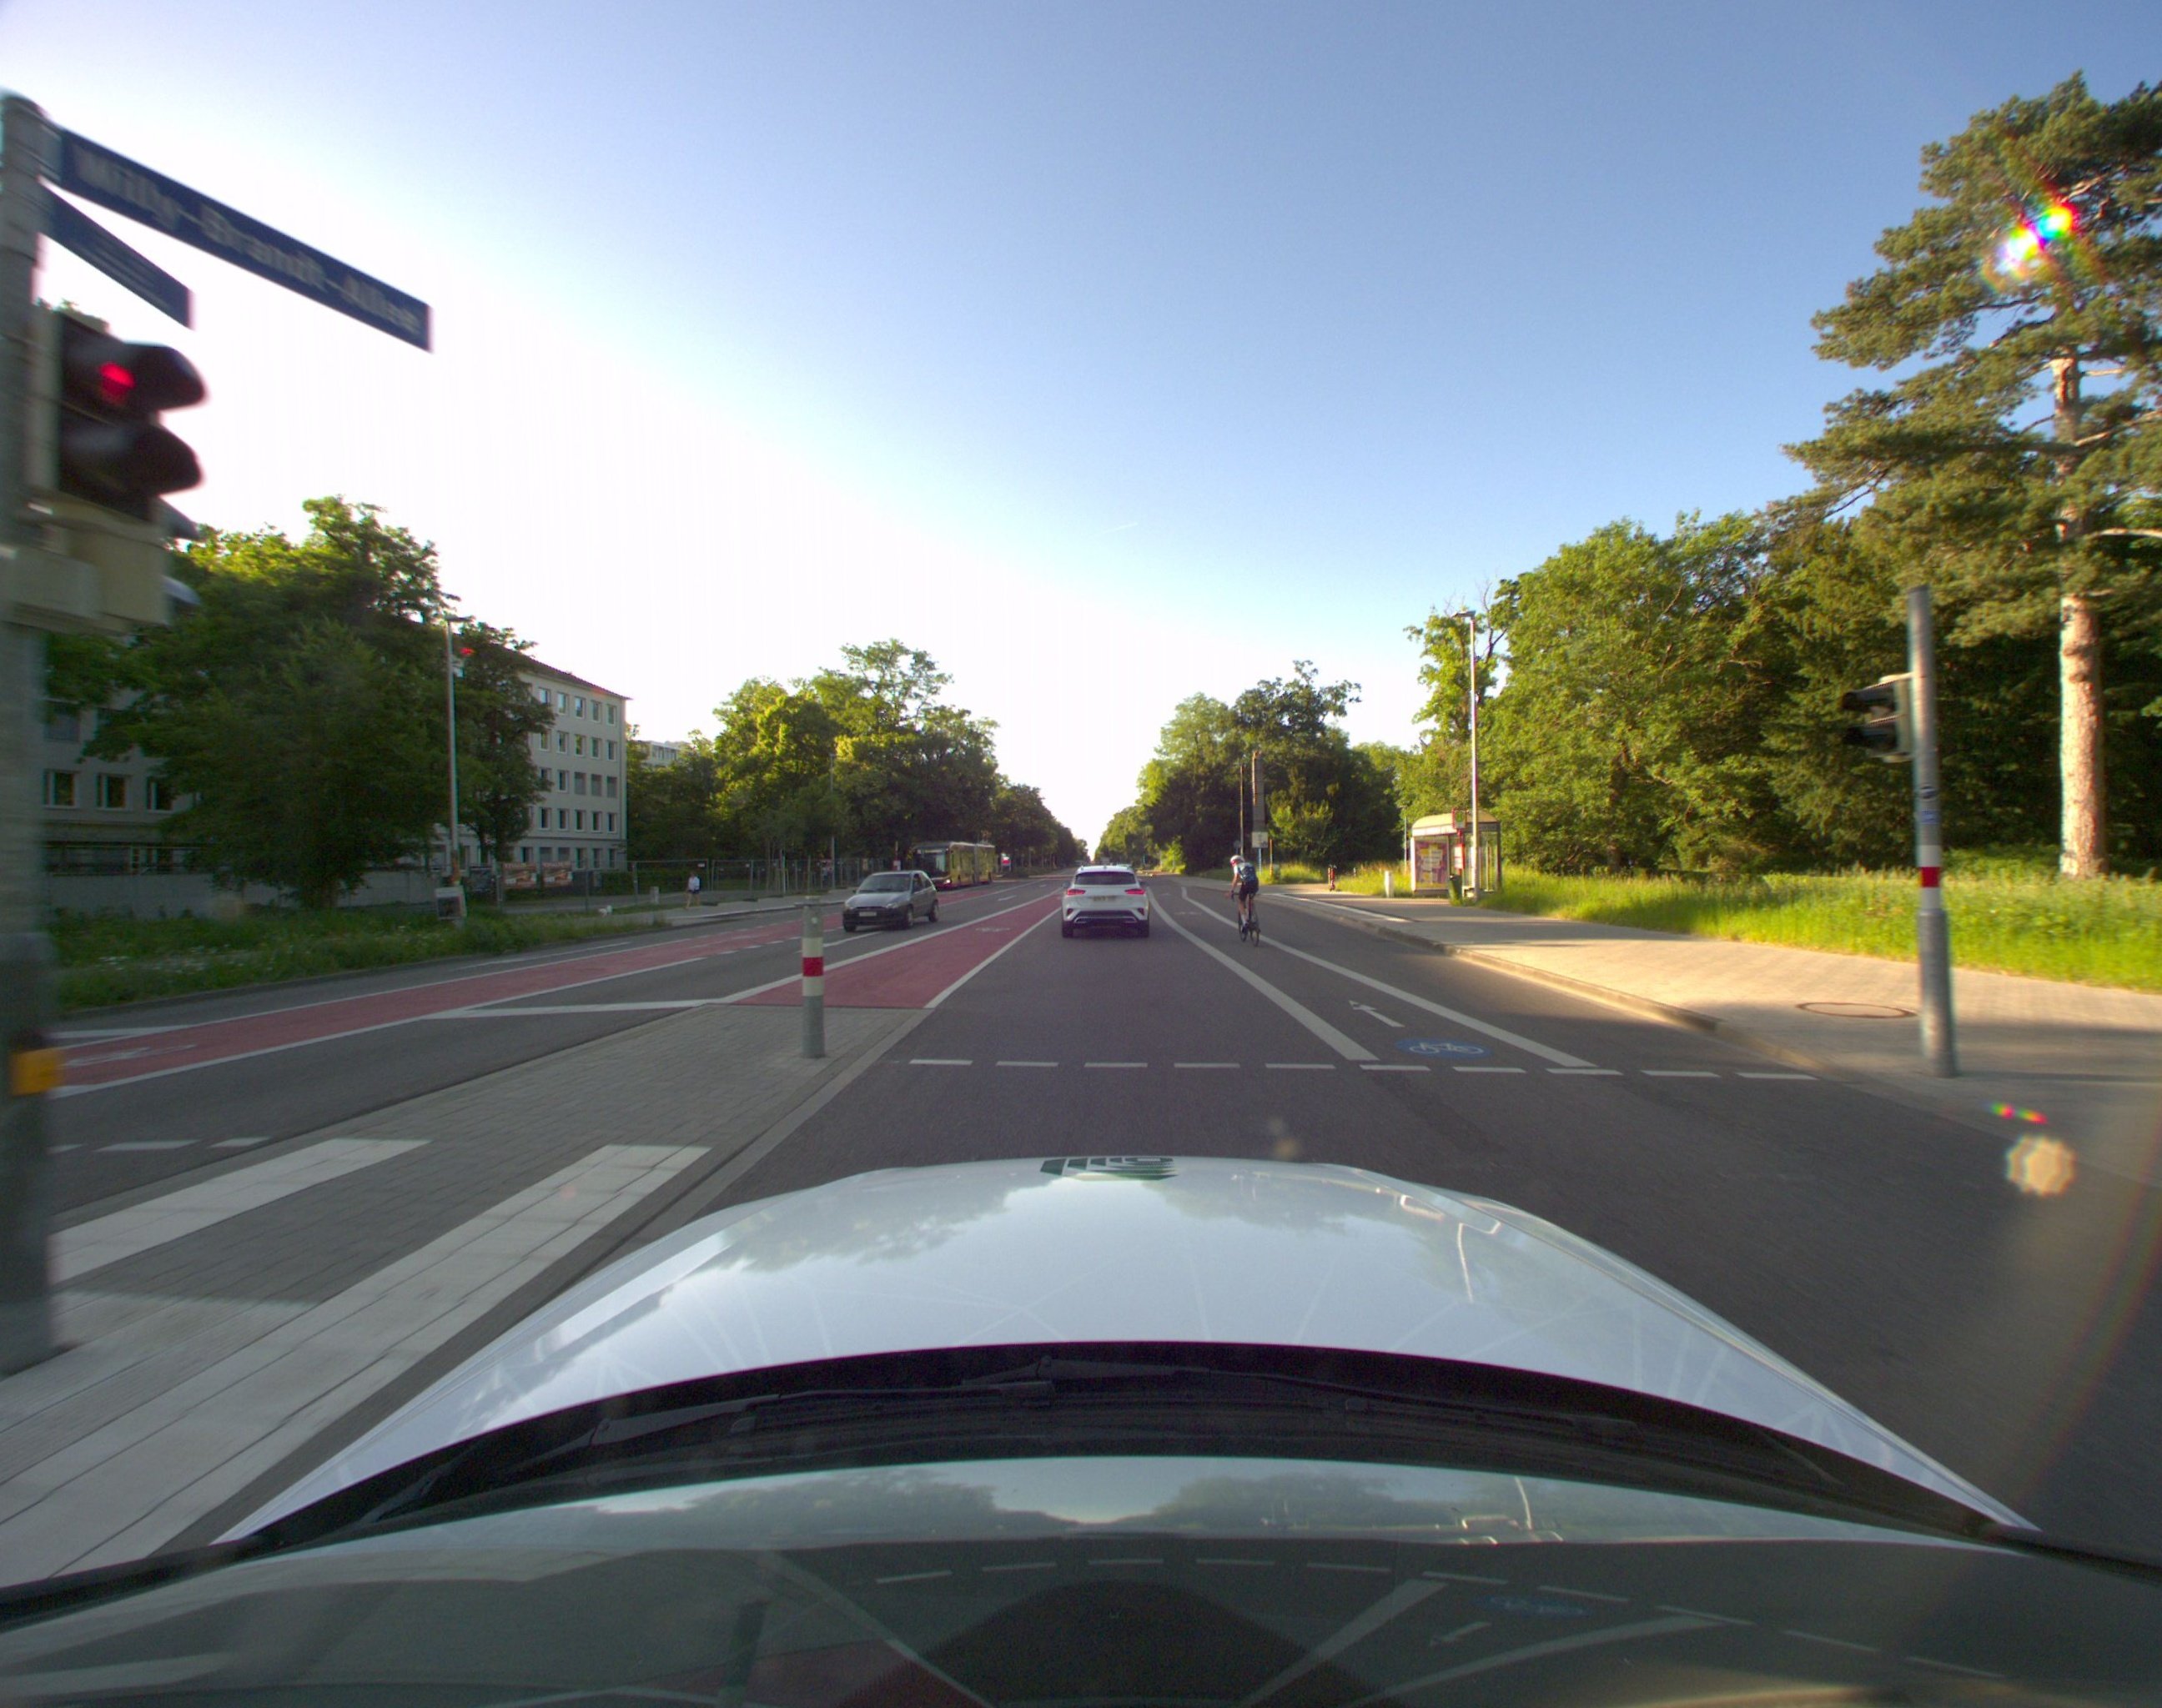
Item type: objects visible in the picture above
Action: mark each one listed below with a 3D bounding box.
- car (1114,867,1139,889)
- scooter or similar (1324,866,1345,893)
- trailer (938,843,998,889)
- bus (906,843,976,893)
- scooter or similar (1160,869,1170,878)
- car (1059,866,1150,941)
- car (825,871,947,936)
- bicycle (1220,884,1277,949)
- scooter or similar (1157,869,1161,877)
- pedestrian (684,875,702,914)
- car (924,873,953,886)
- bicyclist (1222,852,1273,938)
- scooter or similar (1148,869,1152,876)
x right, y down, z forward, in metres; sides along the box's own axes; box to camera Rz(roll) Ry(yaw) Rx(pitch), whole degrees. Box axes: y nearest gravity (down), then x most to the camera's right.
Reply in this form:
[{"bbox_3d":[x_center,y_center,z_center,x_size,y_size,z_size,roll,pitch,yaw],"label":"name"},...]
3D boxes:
[{"bbox_3d":[3.251,1.682,57.907,1.668,1.418,3.578,-1,-1,5],"label":"car"},{"bbox_3d":[11.791,1.183,37.829,0.715,1.247,1.335,-2,-1,25],"label":"scooter or similar"},{"bbox_3d":[-8.924,0.991,65.288,2.842,3.356,9.370,1,-1,4],"label":"trailer"},{"bbox_3d":[-9.479,0.972,56.319,2.828,3.197,8.606,1,-1,3],"label":"bus"},{"bbox_3d":[12.529,2.924,121.698,1.549,1.250,0.528,0,-2,-42],"label":"scooter or similar"},{"bbox_3d":[0.424,1.017,18.033,1.757,1.459,3.814,0,-1,-2],"label":"car"},{"bbox_3d":[-4.754,1.159,20.543,1.703,1.421,4.558,-1,-1,3],"label":"car"},{"bbox_3d":[3.143,1.137,15.485,0.886,1.095,2.140,0,-1,7],"label":"bicycle"},{"bbox_3d":[13.324,3.239,139.541,0.531,1.250,1.541,-1,-1,1],"label":"scooter or similar"},{"bbox_3d":[-15.721,1.640,32.987,0.450,1.534,0.571,-1,-1,-2],"label":"pedestrian"},{"bbox_3d":[-17.513,3.144,100.170,1.542,1.400,3.513,-4,-3,33],"label":"car"},{"bbox_3d":[3.127,0.759,15.359,0.855,1.567,0.883,0,-1,6],"label":"bicyclist"},{"bbox_3d":[13.905,3.686,165.303,0.679,1.423,1.682,-1,-1,1],"label":"scooter or similar"}]
